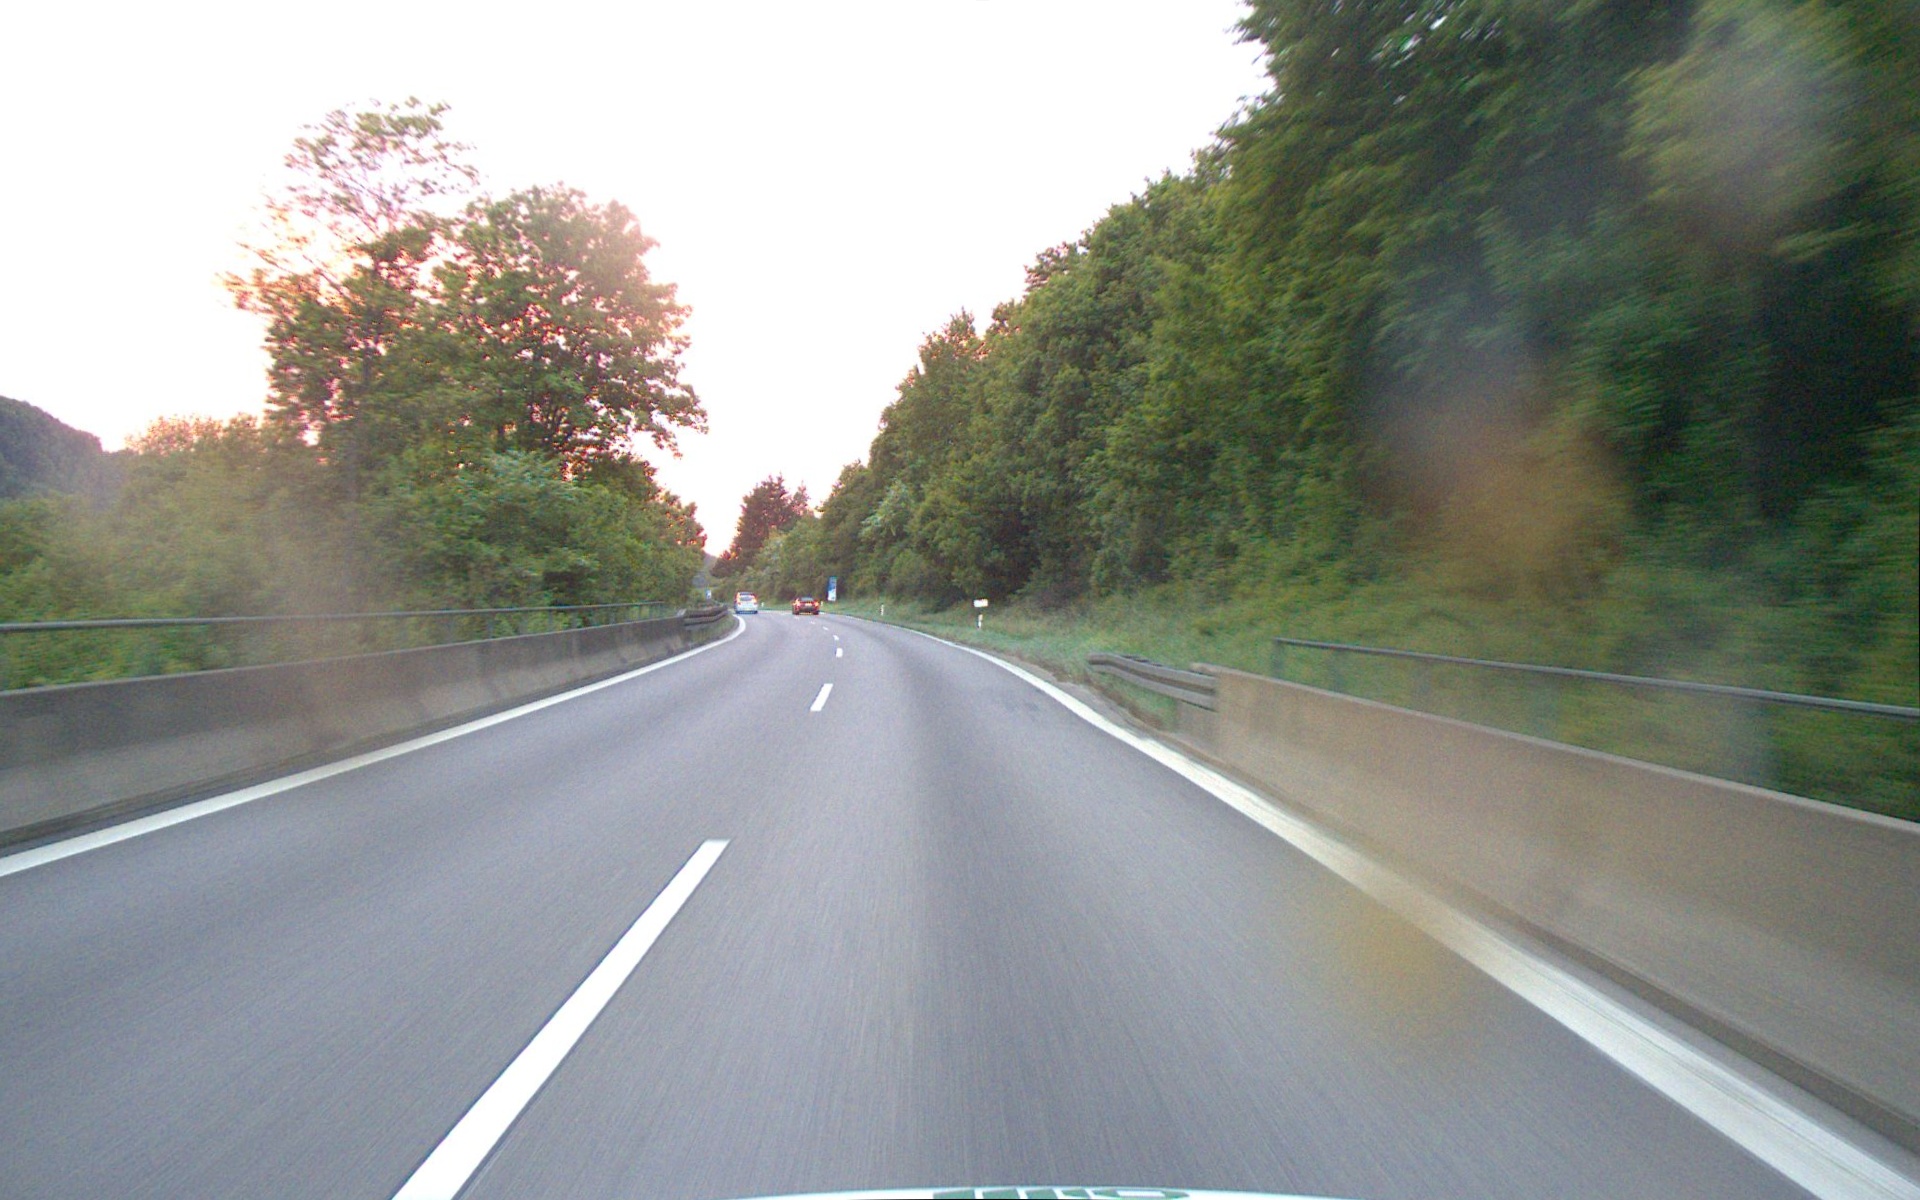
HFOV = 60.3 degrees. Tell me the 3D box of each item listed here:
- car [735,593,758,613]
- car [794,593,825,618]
[{"bbox_3d":[-17.508,0.262,135.947,1.685,1.528,3.994,2,-2,-6],"label":"car"},{"bbox_3d":[-11.972,0.460,131.217,1.959,1.675,3.987,4,-4,-12],"label":"car"}]
